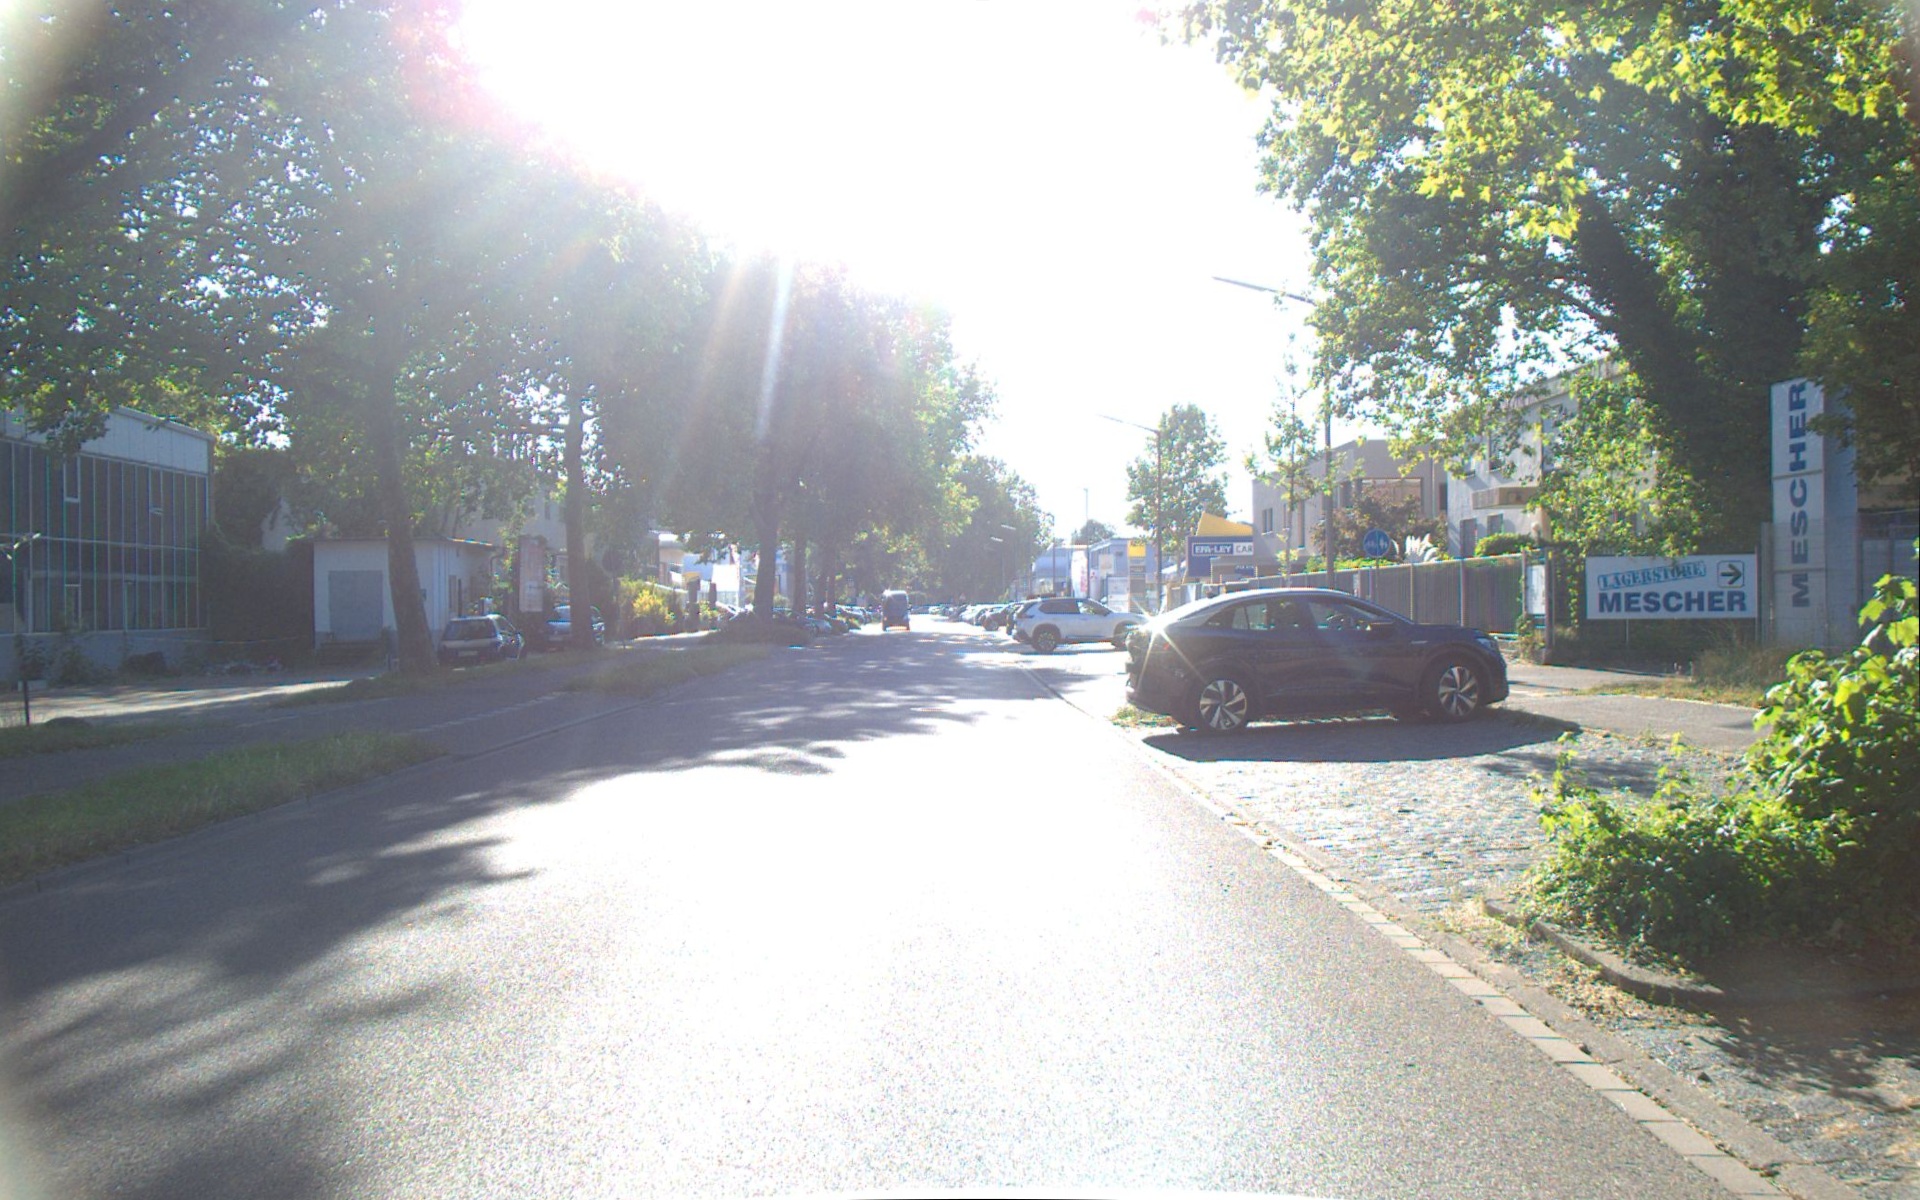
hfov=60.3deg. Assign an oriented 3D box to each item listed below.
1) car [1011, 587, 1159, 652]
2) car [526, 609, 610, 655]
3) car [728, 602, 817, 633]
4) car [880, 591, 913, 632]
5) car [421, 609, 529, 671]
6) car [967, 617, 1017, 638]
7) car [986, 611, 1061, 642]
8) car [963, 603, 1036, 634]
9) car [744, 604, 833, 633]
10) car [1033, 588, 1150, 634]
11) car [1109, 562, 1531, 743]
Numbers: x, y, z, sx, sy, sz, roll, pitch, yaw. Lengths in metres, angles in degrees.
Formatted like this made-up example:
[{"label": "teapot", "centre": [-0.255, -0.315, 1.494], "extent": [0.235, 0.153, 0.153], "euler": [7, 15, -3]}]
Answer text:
[{"label": "car", "centre": [4.069, 0.627, 54.287], "extent": [4.533, 1.741, 1.999], "euler": [-4, 0, -3]}, {"label": "car", "centre": [-14.142, 1.125, 59.876], "extent": [1.952, 1.603, 4.273], "euler": [0, 0, 1]}, {"label": "car", "centre": [-9.280, 0.840, 82.043], "extent": [4.267, 1.447, 1.999], "euler": [-1, 0, -4]}, {"label": "car", "centre": [-4.432, 0.748, 116.536], "extent": [2.084, 2.706, 7.000], "euler": [-1, 1, -1]}, {"label": "car", "centre": [-12.992, 1.045, 44.542], "extent": [1.956, 1.393, 3.916], "euler": [-5, 0, -5]}, {"label": "car", "centre": [2.655, 2.272, 137.024], "extent": [3.909, 1.615, 1.865], "euler": [-2, 0, -5]}, {"label": "car", "centre": [3.903, 1.631, 102.703], "extent": [4.507, 1.607, 2.000], "euler": [-4, -1, 1]}, {"label": "car", "centre": [2.540, 1.194, 107.303], "extent": [4.509, 1.641, 1.999], "euler": [-4, -1, -2]}, {"label": "car", "centre": [-9.095, 0.970, 87.967], "extent": [4.507, 1.447, 1.999], "euler": [-1, 1, -2]}, {"label": "car", "centre": [5.409, 0.451, 68.534], "extent": [4.533, 1.553, 1.999], "euler": [-4, 0, -3]}, {"label": "car", "centre": [4.197, 0.594, 19.753], "extent": [4.481, 1.745, 1.941], "euler": [-4, 0, -5]}]
